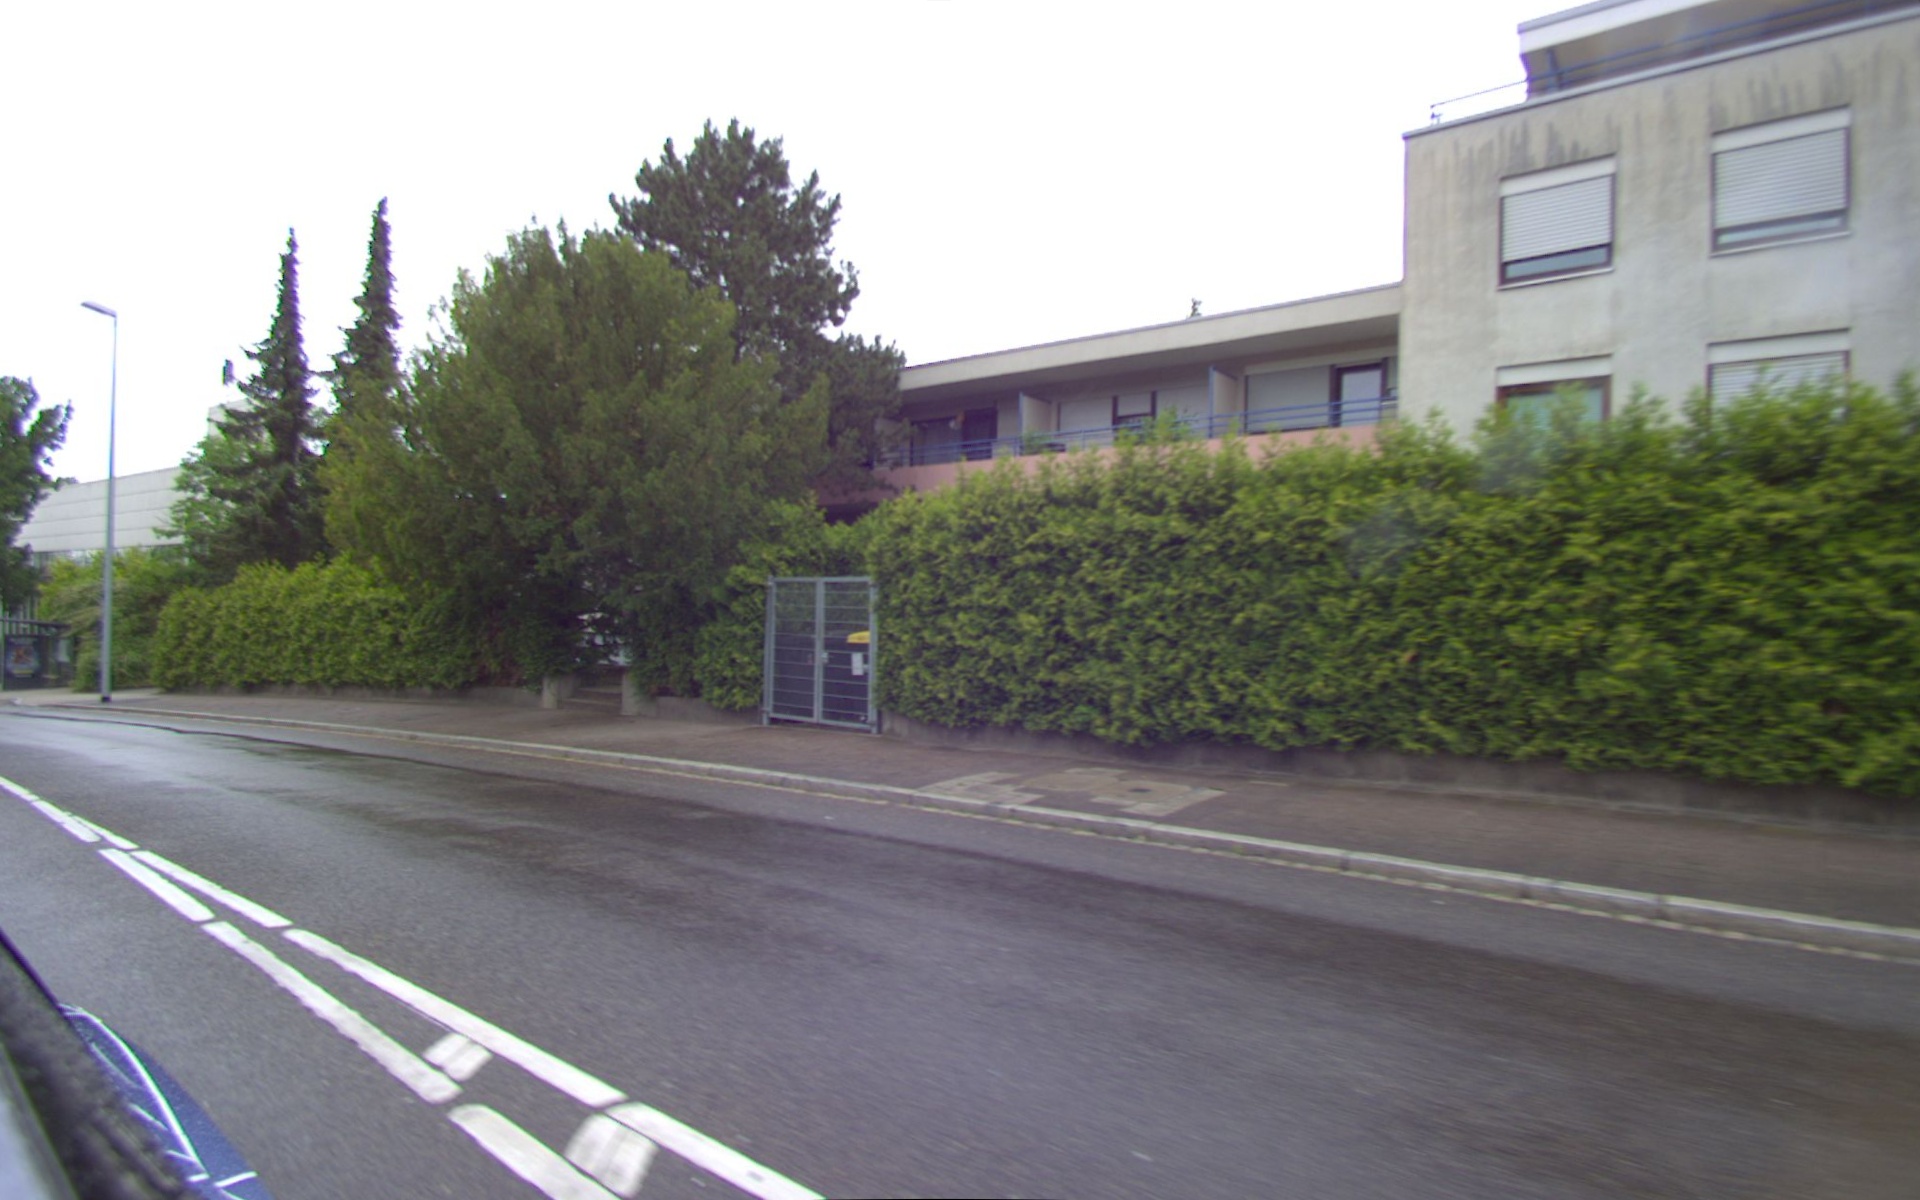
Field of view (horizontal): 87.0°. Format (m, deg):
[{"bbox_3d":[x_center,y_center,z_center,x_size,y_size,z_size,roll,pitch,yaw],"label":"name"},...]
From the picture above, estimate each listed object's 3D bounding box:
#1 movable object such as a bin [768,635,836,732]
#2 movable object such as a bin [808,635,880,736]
[{"bbox_3d":[-2.276,1.188,14.575,0.805,1.336,0.542,-3,-2,38],"label":"movable object such as a bin"},{"bbox_3d":[-1.595,1.160,13.918,0.805,1.336,0.542,-3,-2,38],"label":"movable object such as a bin"}]
